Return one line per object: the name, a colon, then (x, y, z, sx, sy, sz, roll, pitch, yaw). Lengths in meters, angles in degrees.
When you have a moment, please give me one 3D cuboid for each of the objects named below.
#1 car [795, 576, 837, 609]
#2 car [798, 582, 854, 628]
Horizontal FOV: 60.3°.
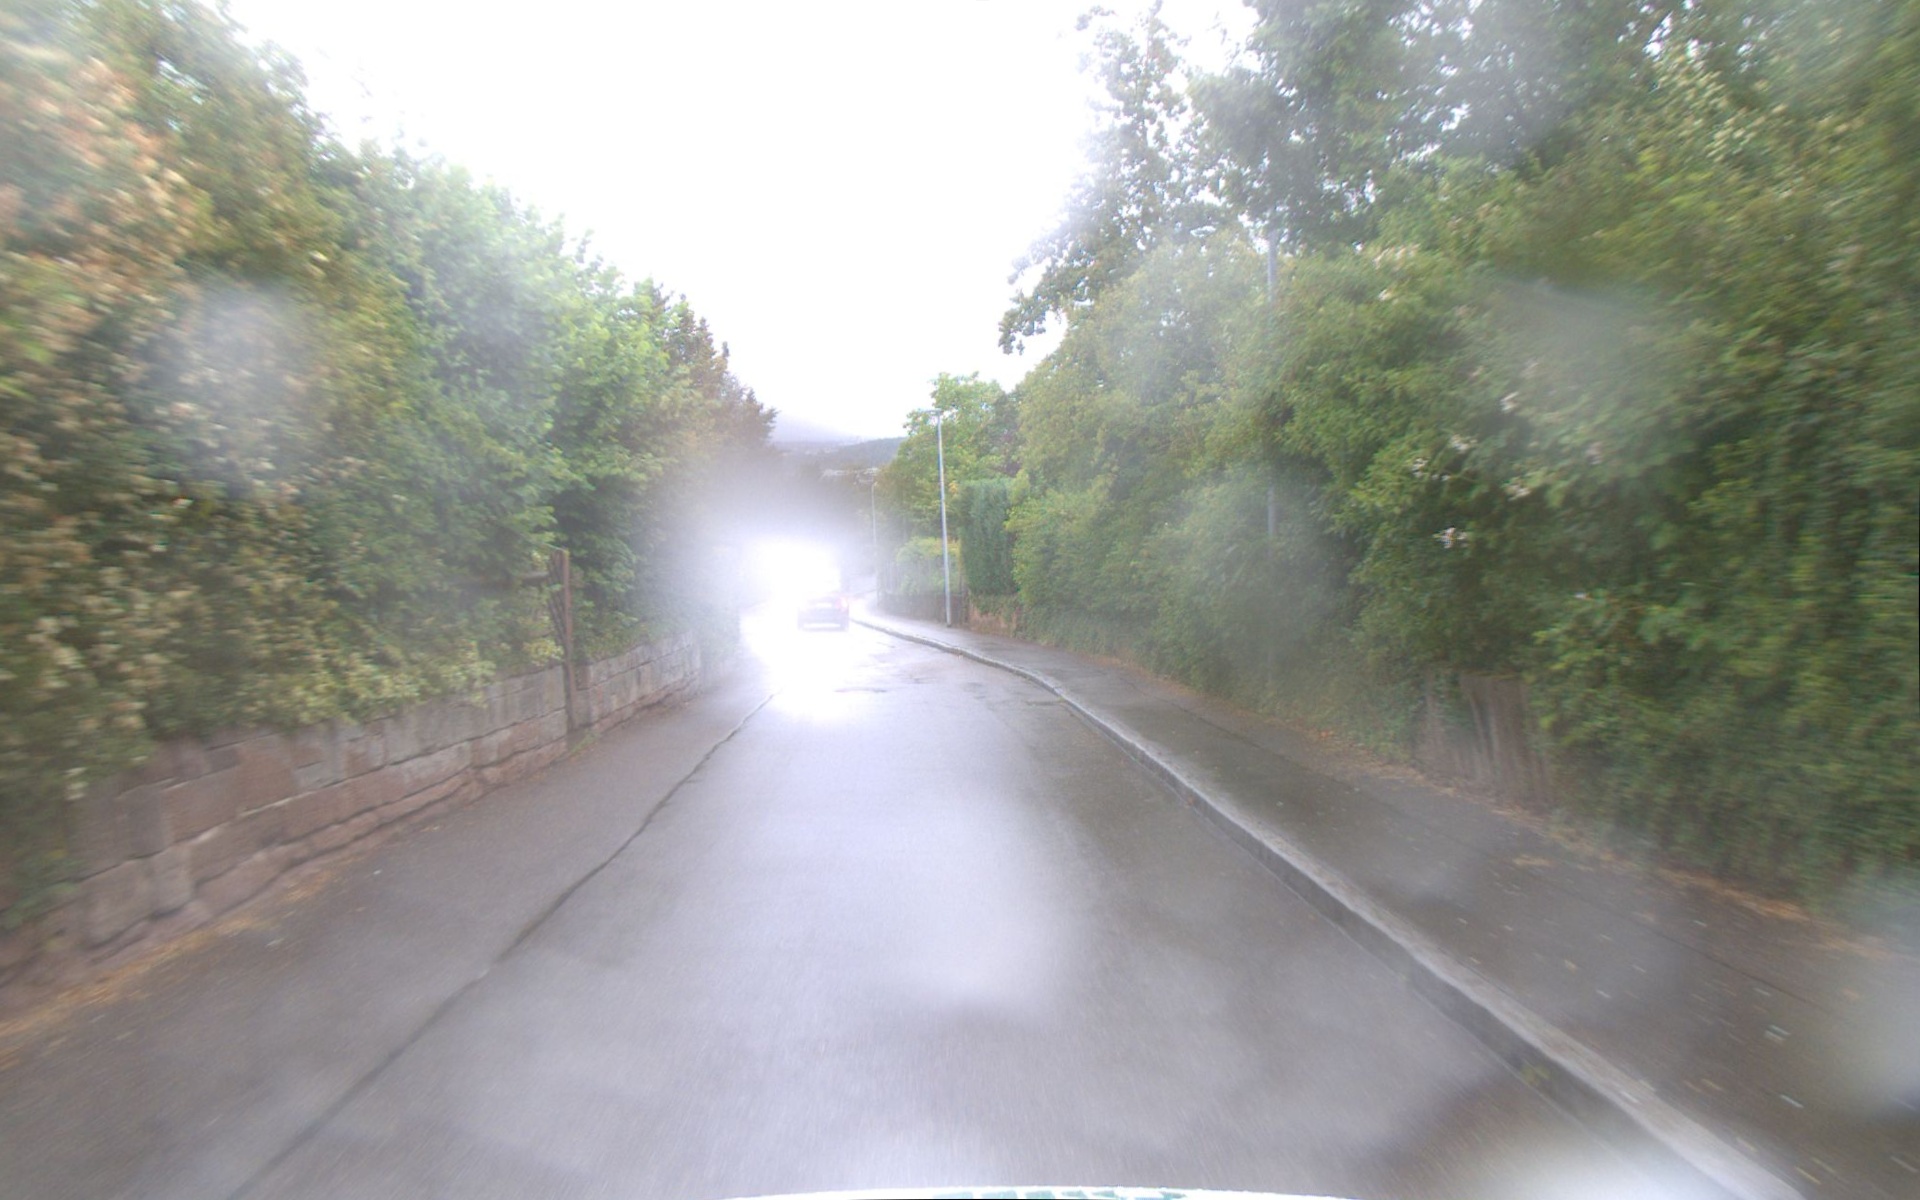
car: (-7.639, -0.397, 87.785, 1.643, 1.592, 3.797, 0, 2, 4)
car: (-4.583, 0.157, 56.237, 1.800, 1.489, 3.994, 0, 0, -6)
